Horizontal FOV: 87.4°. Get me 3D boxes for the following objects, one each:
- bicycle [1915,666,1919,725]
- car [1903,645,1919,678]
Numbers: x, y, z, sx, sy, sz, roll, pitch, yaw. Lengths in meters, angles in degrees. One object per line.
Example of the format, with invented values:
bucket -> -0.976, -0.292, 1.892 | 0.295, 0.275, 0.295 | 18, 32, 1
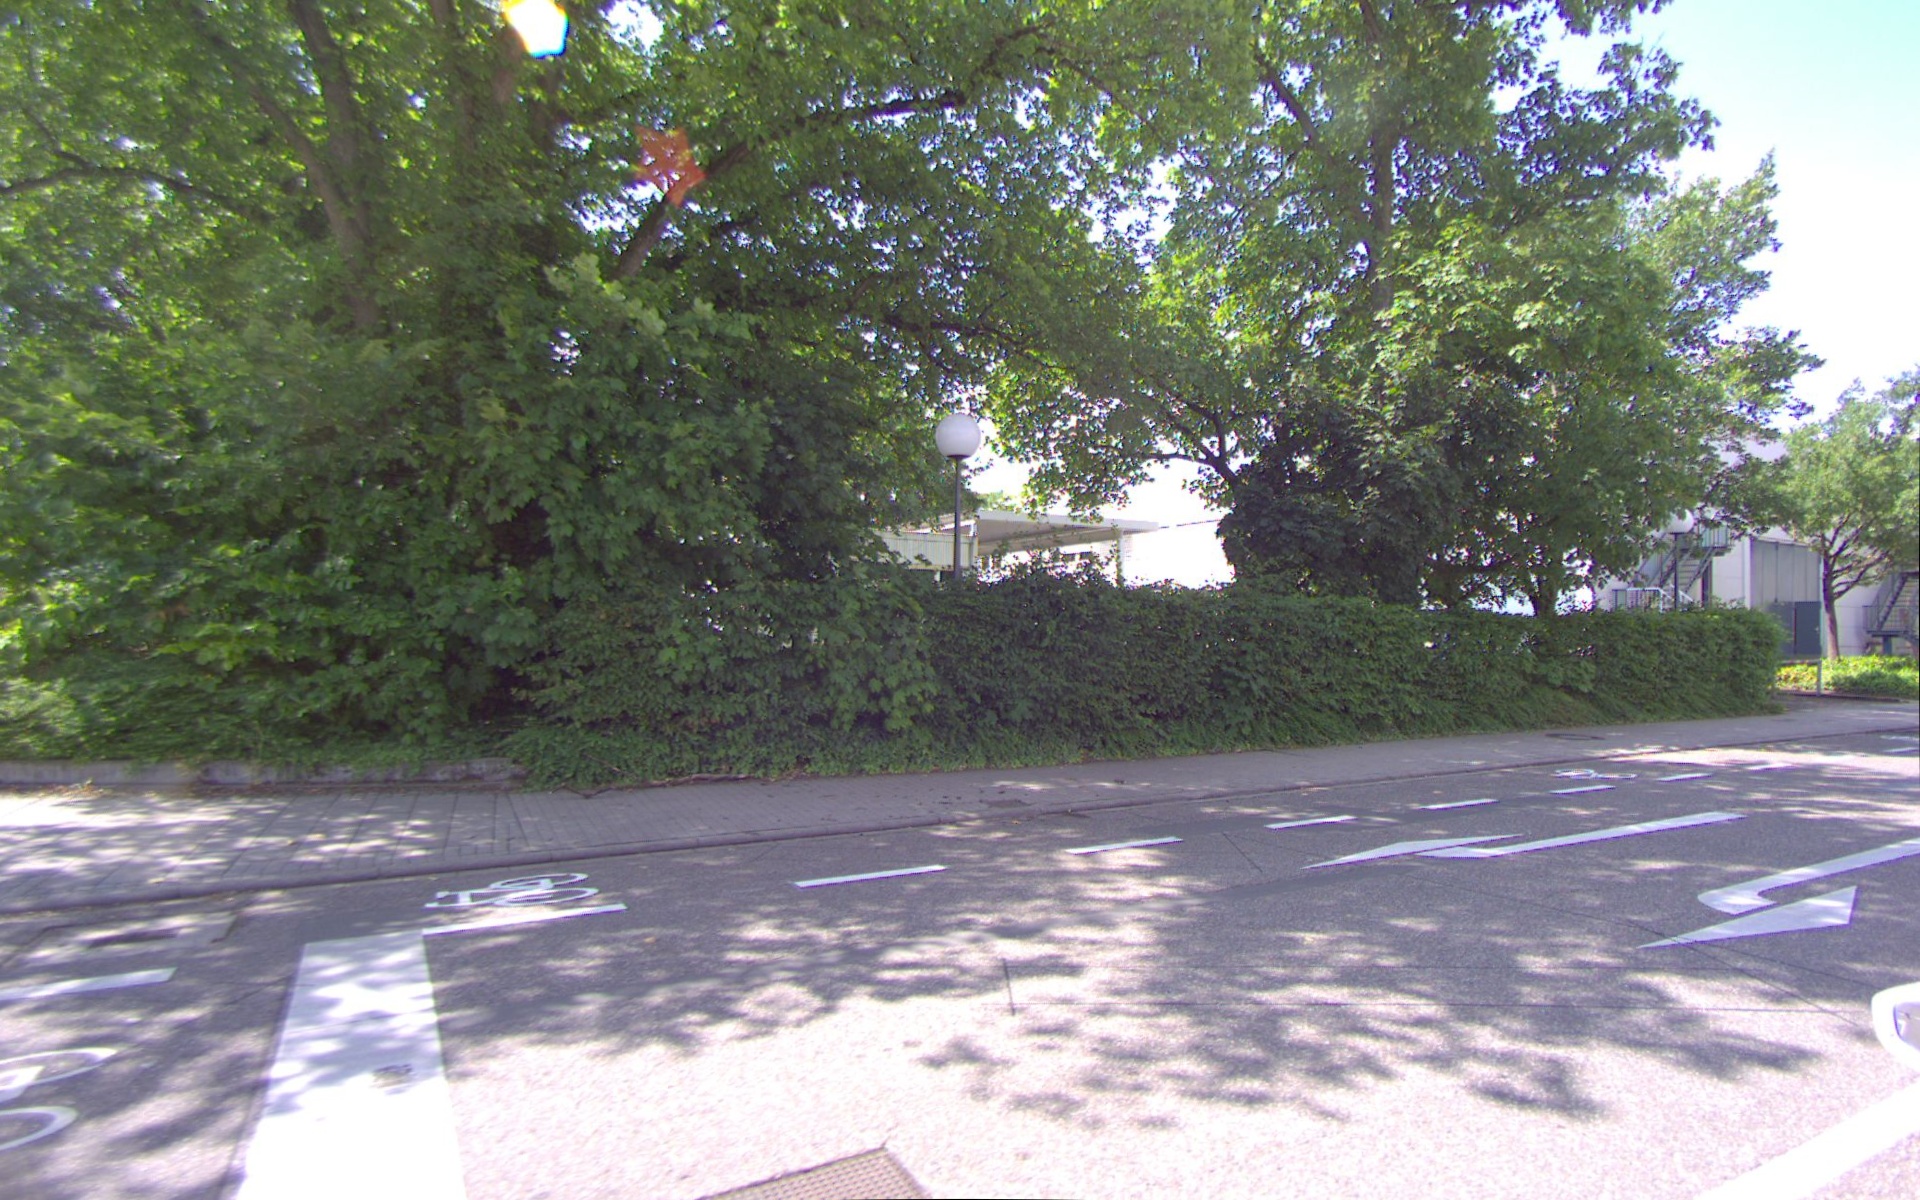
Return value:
bicycle -> 17.472, 1.666, 17.393 | 2.184, 1.002, 0.789 | 2, -2, -30
car -> 45.374, 2.828, 46.196 | 4.249, 1.486, 1.820 | 2, -1, -31
